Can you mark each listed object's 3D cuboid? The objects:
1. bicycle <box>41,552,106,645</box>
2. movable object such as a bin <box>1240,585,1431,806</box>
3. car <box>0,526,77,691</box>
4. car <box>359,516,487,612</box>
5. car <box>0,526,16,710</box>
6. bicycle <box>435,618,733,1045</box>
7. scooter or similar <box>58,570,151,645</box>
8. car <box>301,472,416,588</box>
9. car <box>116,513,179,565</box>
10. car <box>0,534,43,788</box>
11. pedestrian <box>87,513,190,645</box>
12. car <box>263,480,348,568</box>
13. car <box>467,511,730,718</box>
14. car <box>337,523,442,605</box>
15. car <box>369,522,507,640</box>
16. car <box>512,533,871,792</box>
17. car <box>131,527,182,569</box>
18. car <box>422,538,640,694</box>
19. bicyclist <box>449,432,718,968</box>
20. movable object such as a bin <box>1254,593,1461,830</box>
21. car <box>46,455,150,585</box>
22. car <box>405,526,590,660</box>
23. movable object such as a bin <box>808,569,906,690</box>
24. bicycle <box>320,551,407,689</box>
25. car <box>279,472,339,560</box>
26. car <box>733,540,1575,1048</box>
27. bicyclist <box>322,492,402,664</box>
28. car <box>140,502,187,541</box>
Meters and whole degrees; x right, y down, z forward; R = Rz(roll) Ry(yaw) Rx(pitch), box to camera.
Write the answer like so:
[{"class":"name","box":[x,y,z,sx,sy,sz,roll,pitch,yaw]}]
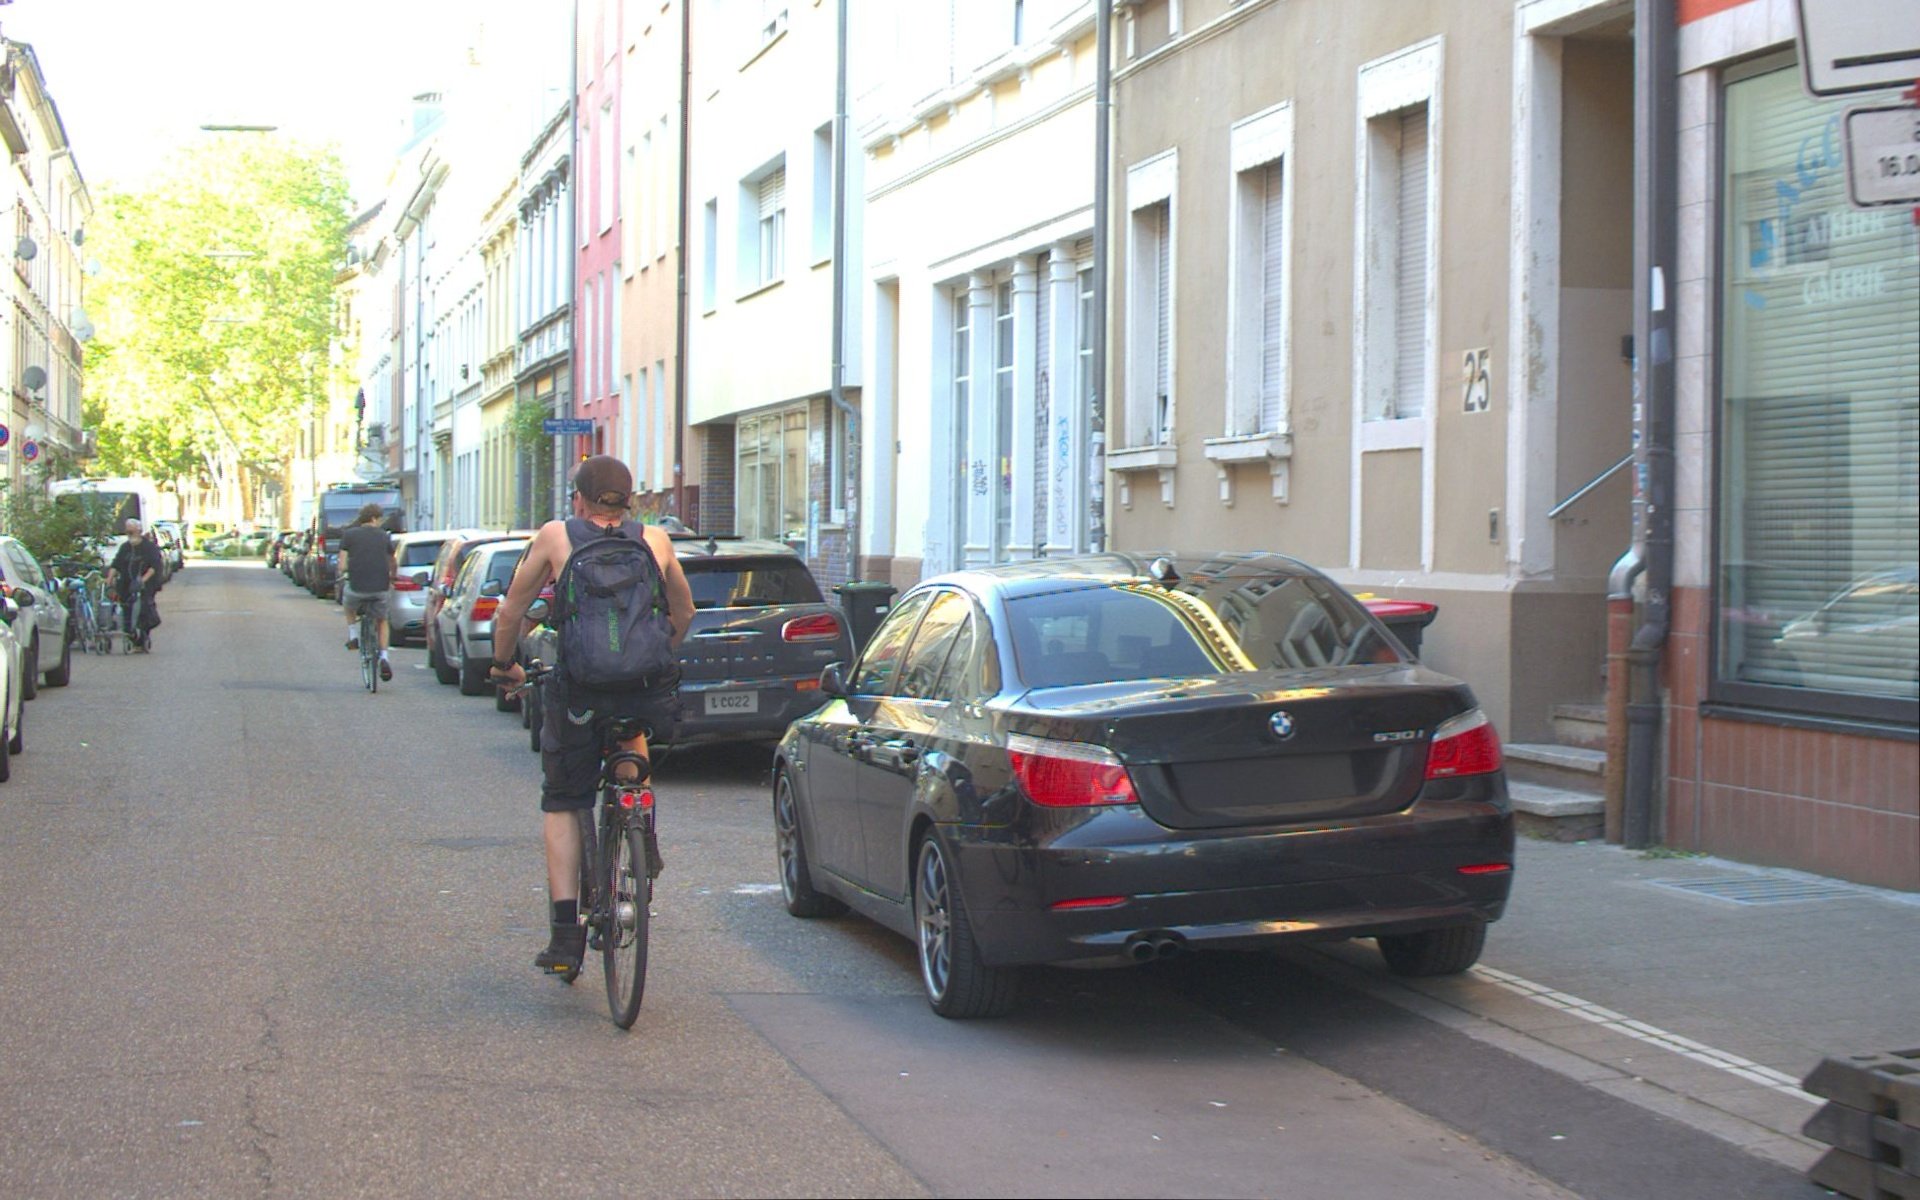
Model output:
[{"class":"bicycle","box":[-11.093,-0.032,42.977,0.699,1.102,2.275,2,0,-16]},{"class":"movable object such as a bin","box":[1.920,0.477,17.657,0.807,1.071,0.678,-2,1,-7]},{"class":"car","box":[-9.191,0.062,31.722,1.671,1.437,3.755,-2,1,-9]},{"class":"car","box":[-8.368,-0.575,53.356,1.710,1.389,4.001,-2,1,-12]},{"class":"car","box":[-8.341,0.157,26.767,1.671,1.437,3.769,-2,1,-12]},{"class":"bicycle","box":[-1.281,0.694,11.285,0.702,1.204,2.343,2,0,-12]},{"class":"scooter or similar","box":[-10.314,0.085,41.459,0.772,0.870,0.769,2,0,42]},{"class":"car","box":[-14.009,-1.620,79.784,2.307,2.529,6.772,-2,1,-12]},{"class":"car","box":[-23.578,-1.764,99.868,1.671,1.437,4.166,-2,1,-12]},{"class":"car","box":[-6.669,0.336,21.312,1.671,1.437,4.166,-2,1,-12]},{"class":"pedestrian","box":[-9.989,-0.252,41.814,0.772,1.573,0.898,2,0,42]},{"class":"car","box":[-19.952,-2.300,104.543,2.307,2.529,6.772,-2,1,-12]},{"class":"car","box":[-3.072,0.075,28.576,1.710,1.551,4.001,-2,1,-12]},{"class":"car","box":[-10.716,-0.688,64.378,1.710,1.442,4.001,-2,1,-12]},{"class":"car","box":[-7.326,-0.290,48.005,1.620,1.545,4.001,-2,1,-12]},{"class":"car","box":[-1.871,0.343,22.814,1.816,1.516,4.001,-2,1,-12]},{"class":"car","box":[-28.509,-1.843,122.095,1.671,1.437,4.166,-2,1,-12]},{"class":"car","box":[-4.223,0.109,33.399,1.710,1.378,4.001,-2,1,-12]},{"class":"bicyclist","box":[-1.230,0.303,11.070,0.702,1.627,1.090,2,0,-12]},{"class":"movable object such as a bin","box":[1.905,0.522,16.532,0.736,1.071,0.678,-2,1,-18]},{"class":"car","box":[-16.952,-1.577,67.633,1.909,2.488,4.167,0,1,-14]},{"class":"car","box":[-5.234,-0.112,38.587,1.710,1.378,4.001,-2,1,-12]},{"class":"movable object such as a bin","box":[-0.954,0.266,31.662,0.807,1.071,0.678,-2,1,-7]},{"class":"bicycle","box":[-5.712,0.169,32.839,0.702,1.203,2.343,0,2,-13]},{"class":"car","box":[-28.645,-3.669,151.131,2.307,3.755,6.772,-2,1,-12]},{"class":"car","box":[0.445,0.524,12.518,1.816,1.433,4.792,-2,1,-12]},{"class":"bicyclist","box":[-5.699,-0.221,32.731,0.702,1.599,0.813,0,2,-13]},{"class":"car","box":[-31.124,-3.052,134.385,1.671,1.437,4.166,-2,1,-12]}]
